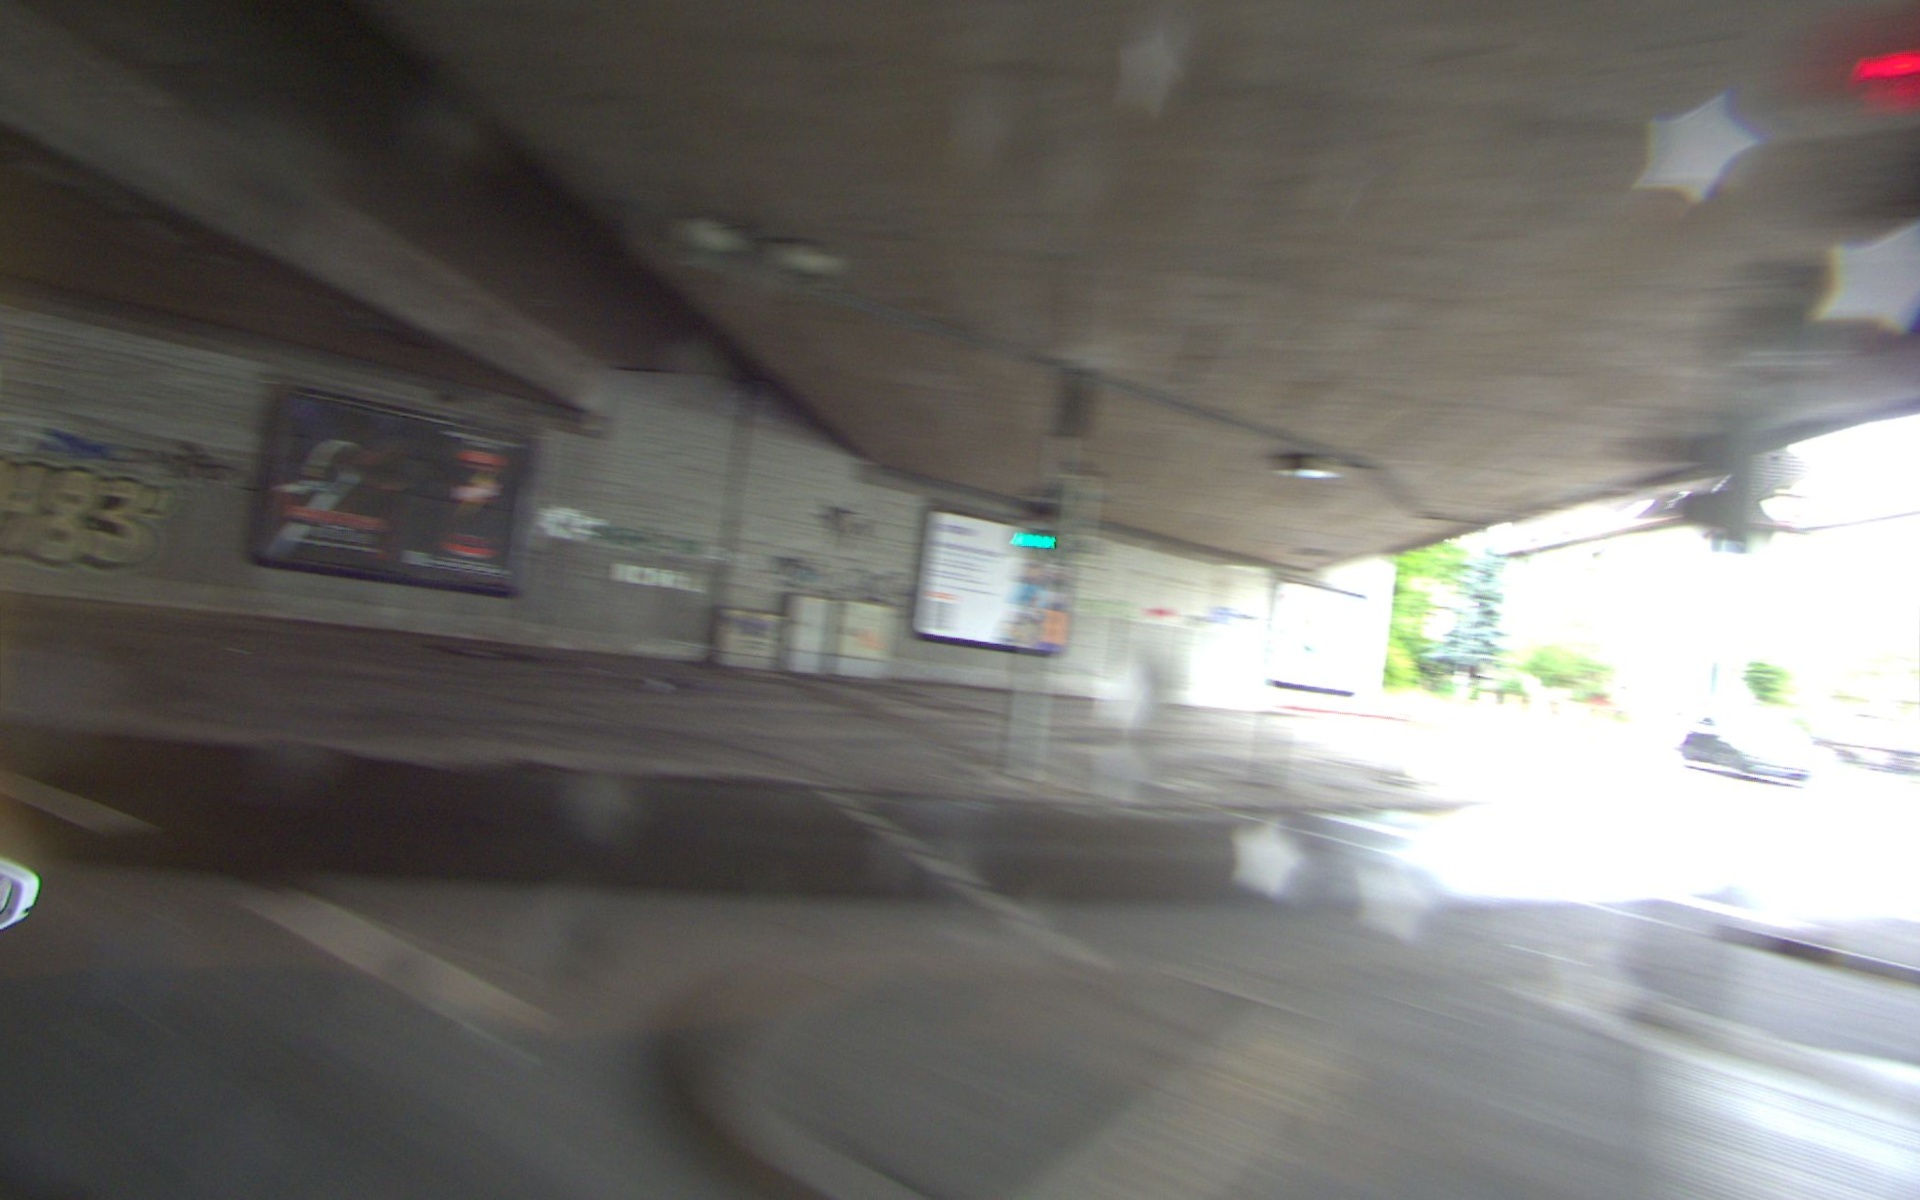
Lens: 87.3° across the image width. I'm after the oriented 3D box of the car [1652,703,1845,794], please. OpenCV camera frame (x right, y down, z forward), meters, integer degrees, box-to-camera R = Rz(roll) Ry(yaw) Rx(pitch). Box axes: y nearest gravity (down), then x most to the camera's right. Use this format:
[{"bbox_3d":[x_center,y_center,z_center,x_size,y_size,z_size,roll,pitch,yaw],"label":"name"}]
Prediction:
[{"bbox_3d":[19.636,3.634,25.313,1.736,1.599,4.237,5,-1,7],"label":"car"}]
